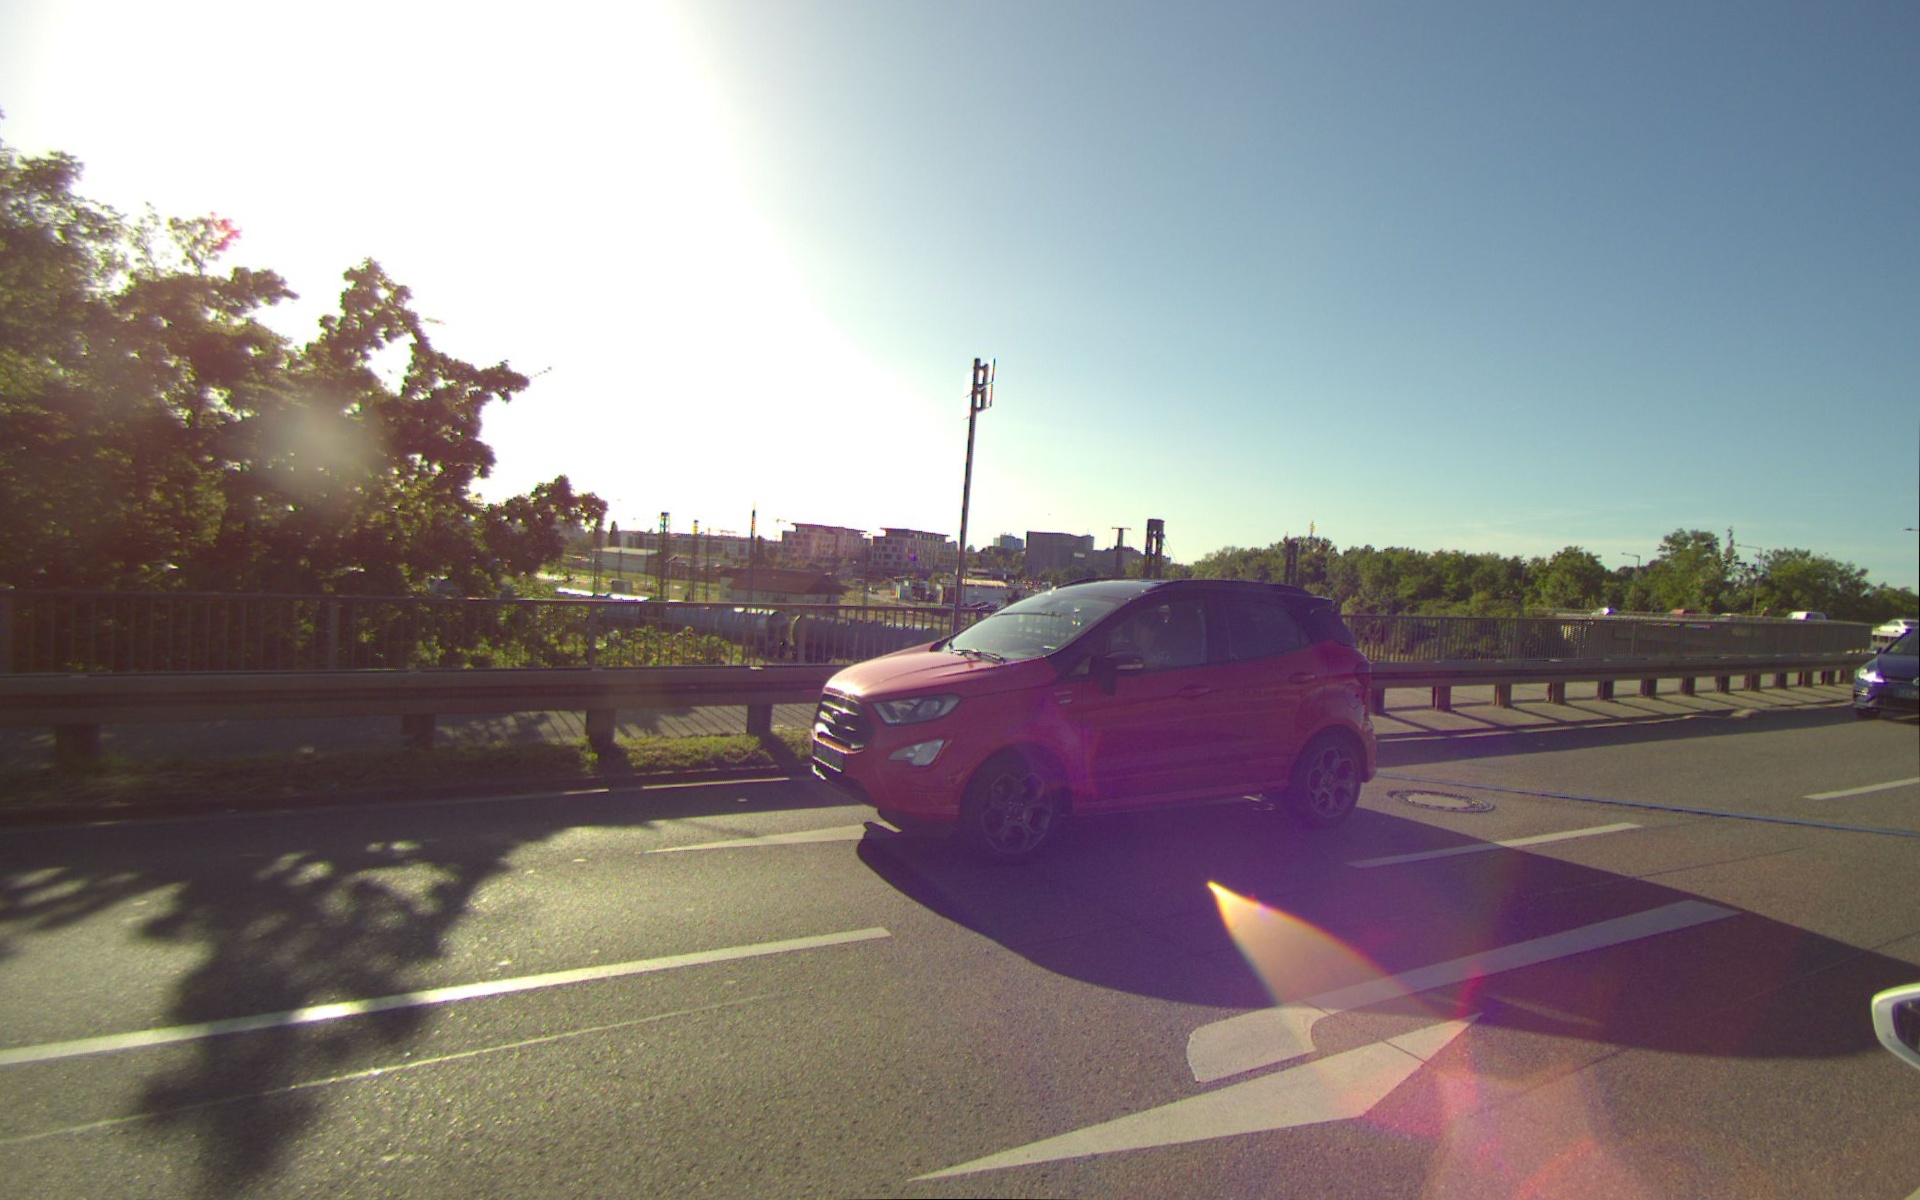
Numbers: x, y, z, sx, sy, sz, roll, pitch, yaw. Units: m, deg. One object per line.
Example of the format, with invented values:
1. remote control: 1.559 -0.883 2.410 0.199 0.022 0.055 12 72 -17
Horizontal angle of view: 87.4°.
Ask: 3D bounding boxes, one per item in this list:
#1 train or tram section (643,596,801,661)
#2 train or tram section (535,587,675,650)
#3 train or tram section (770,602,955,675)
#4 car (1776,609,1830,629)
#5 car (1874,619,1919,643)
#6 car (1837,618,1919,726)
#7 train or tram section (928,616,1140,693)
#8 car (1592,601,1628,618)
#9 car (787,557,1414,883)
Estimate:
1. train or tram section: -22.353 2.449 93.554 16.077 5.084 3.897 3 1 31
2. train or tram section: -36.198 1.733 101.903 16.213 5.593 3.897 3 1 31
3. train or tram section: -8.488 3.076 85.183 16.372 5.084 3.897 3 1 31
4. car: 74.783 1.702 89.161 1.804 1.576 3.895 2 1 8
5. car: 68.423 2.254 72.959 1.830 1.606 3.910 2 1 25
6. car: 15.501 1.086 15.590 4.360 1.506 1.714 1 1 -33
7. train or tram section: 5.371 3.947 76.834 16.024 4.653 3.897 3 1 31
8. car: 82.546 1.145 127.548 1.924 1.977 3.999 2 1 0
9. car: 1.014 0.636 6.867 3.952 1.659 1.796 1 1 -29
